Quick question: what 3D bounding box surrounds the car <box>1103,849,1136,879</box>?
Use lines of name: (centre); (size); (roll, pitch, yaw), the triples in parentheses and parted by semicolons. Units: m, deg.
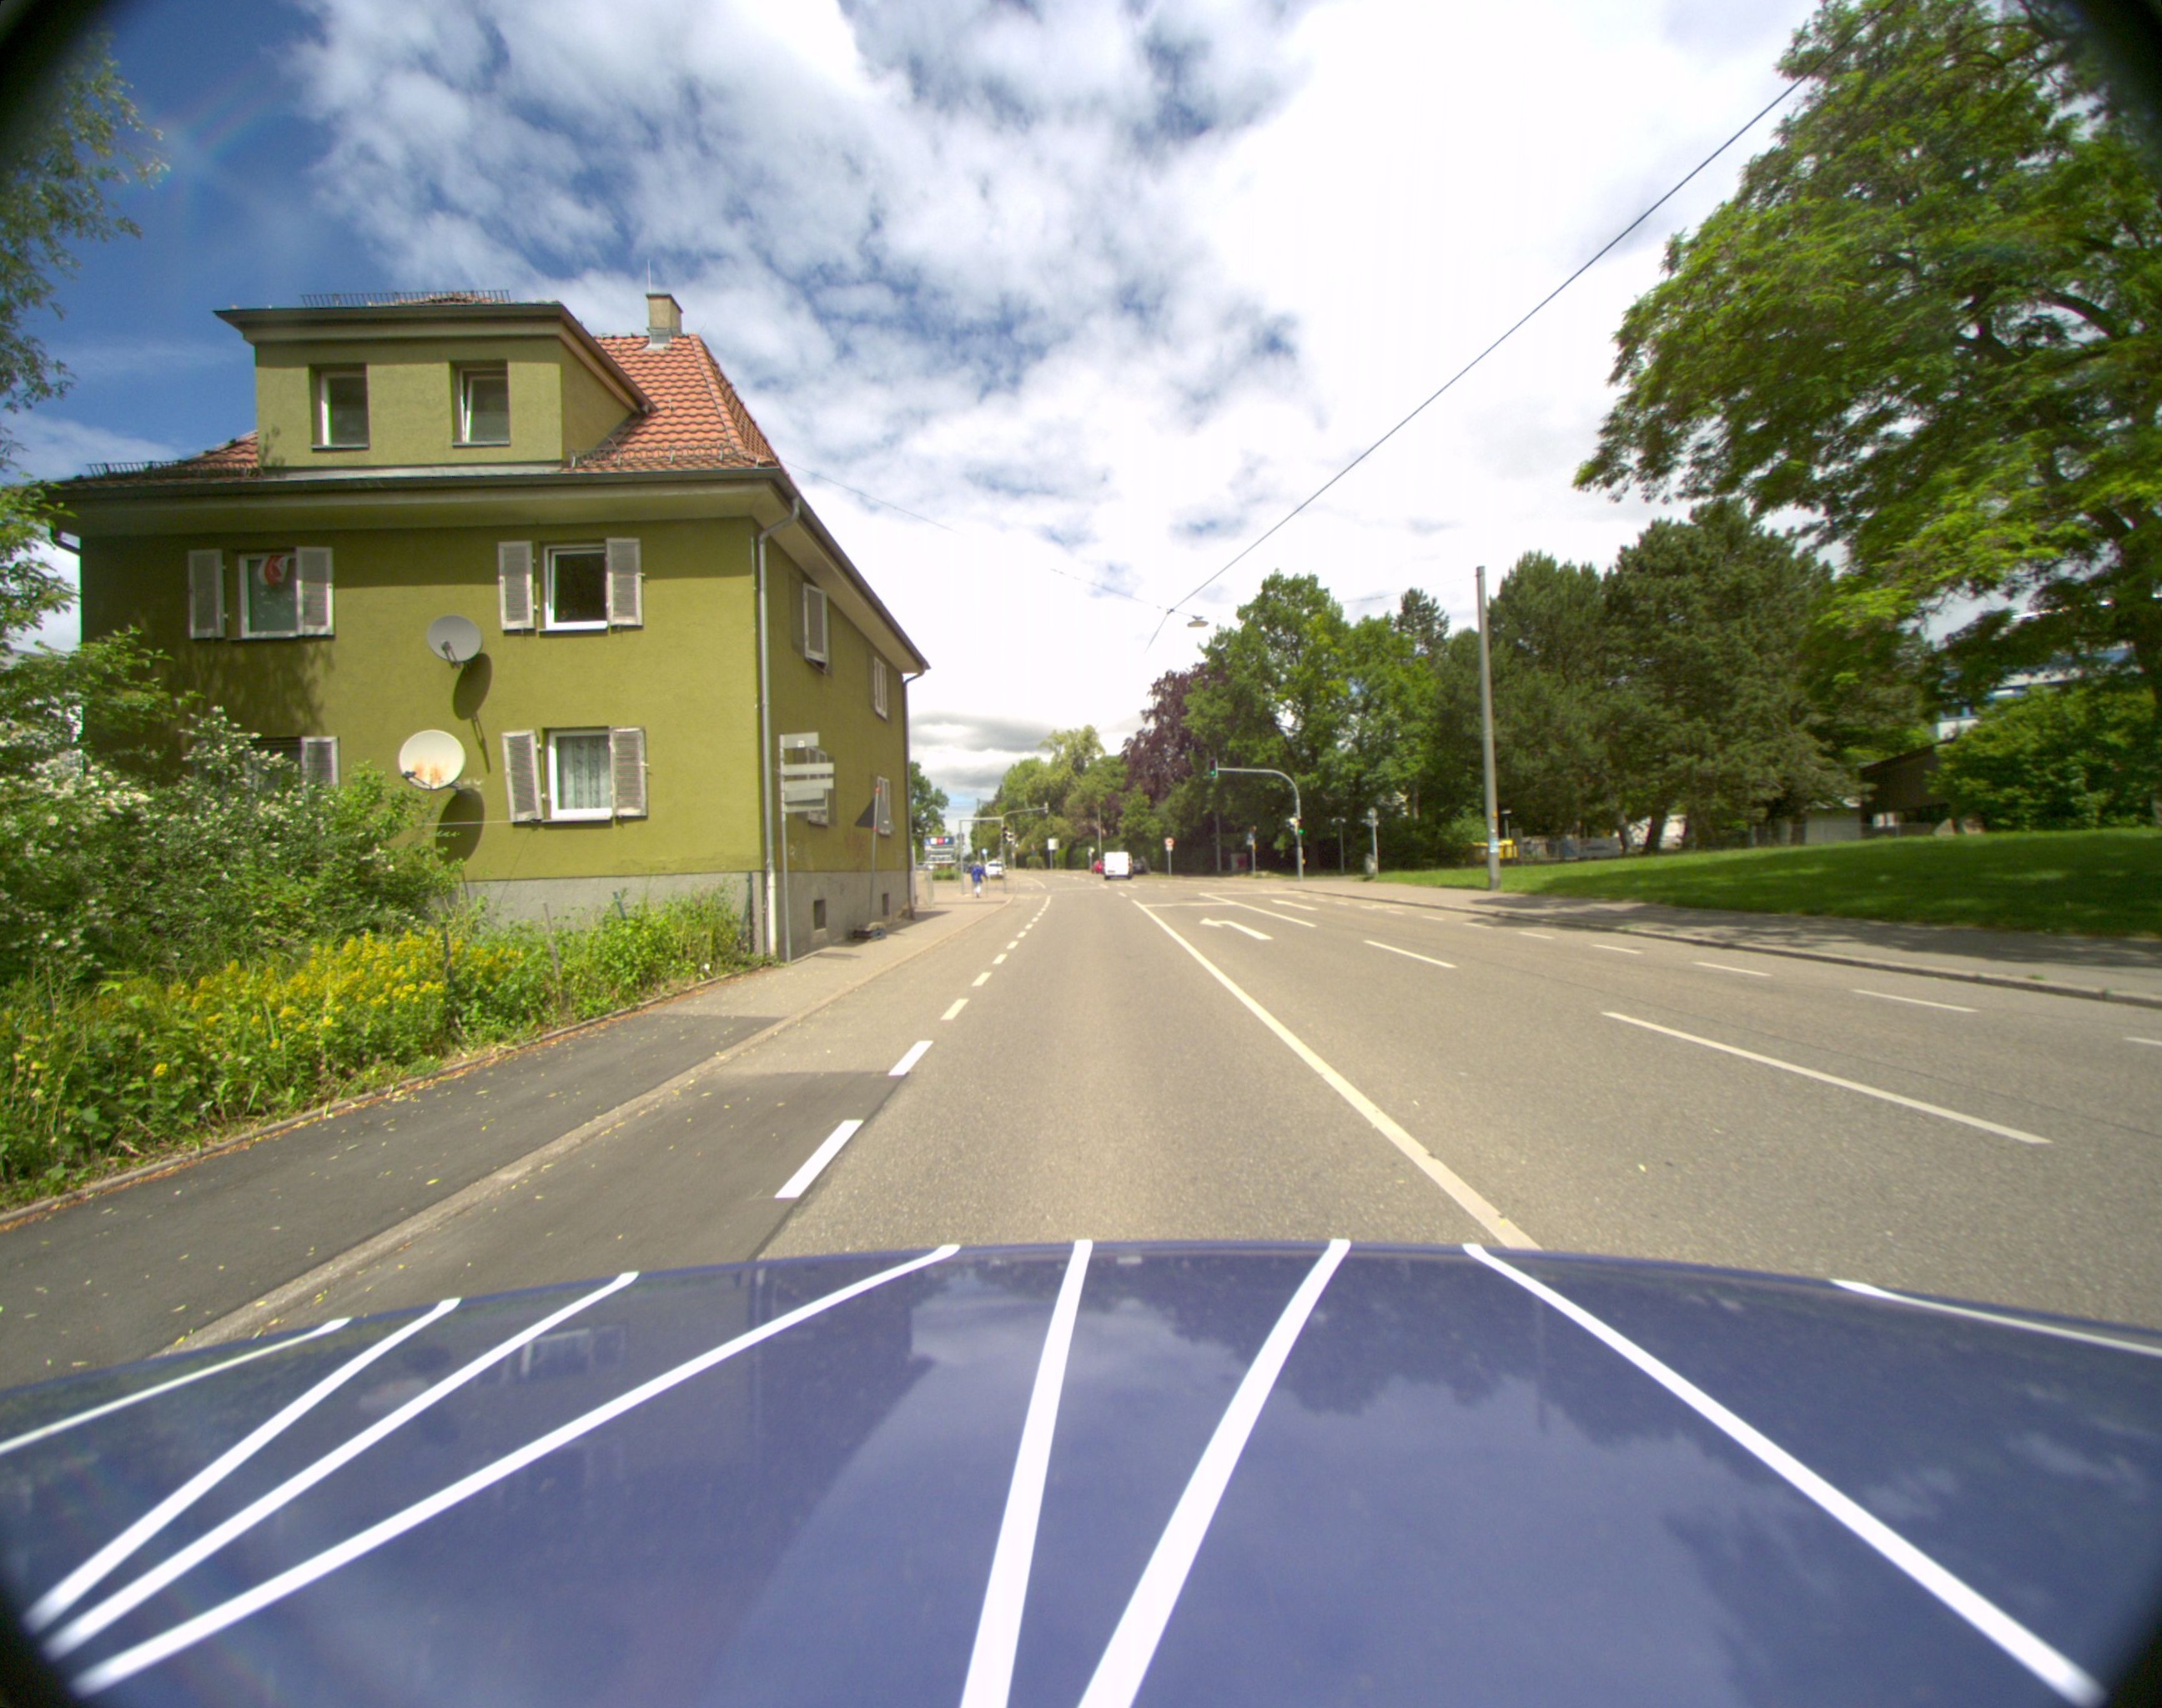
car: (2.860, 0.690, 55.405); (1.997, 2.011, 5.354); (-1, 0, 7)

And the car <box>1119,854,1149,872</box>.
car: (4.646, 0.801, 67.041); (1.688, 1.407, 4.398); (-3, 1, -9)

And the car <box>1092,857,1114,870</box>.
car: (2.342, 0.999, 81.156); (1.531, 1.358, 3.371); (-3, 1, -12)

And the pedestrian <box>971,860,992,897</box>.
pedestrian: (-4.333, 1.073, 33.029); (0.826, 1.563, 0.987); (-1, 1, -4)

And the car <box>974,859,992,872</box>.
car: (-12.498, 1.431, 96.320); (1.707, 1.522, 3.995); (-3, 0, -15)

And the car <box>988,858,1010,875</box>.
car: (-7.382, 1.105, 68.239); (1.796, 1.522, 3.918); (0, 0, -9)
